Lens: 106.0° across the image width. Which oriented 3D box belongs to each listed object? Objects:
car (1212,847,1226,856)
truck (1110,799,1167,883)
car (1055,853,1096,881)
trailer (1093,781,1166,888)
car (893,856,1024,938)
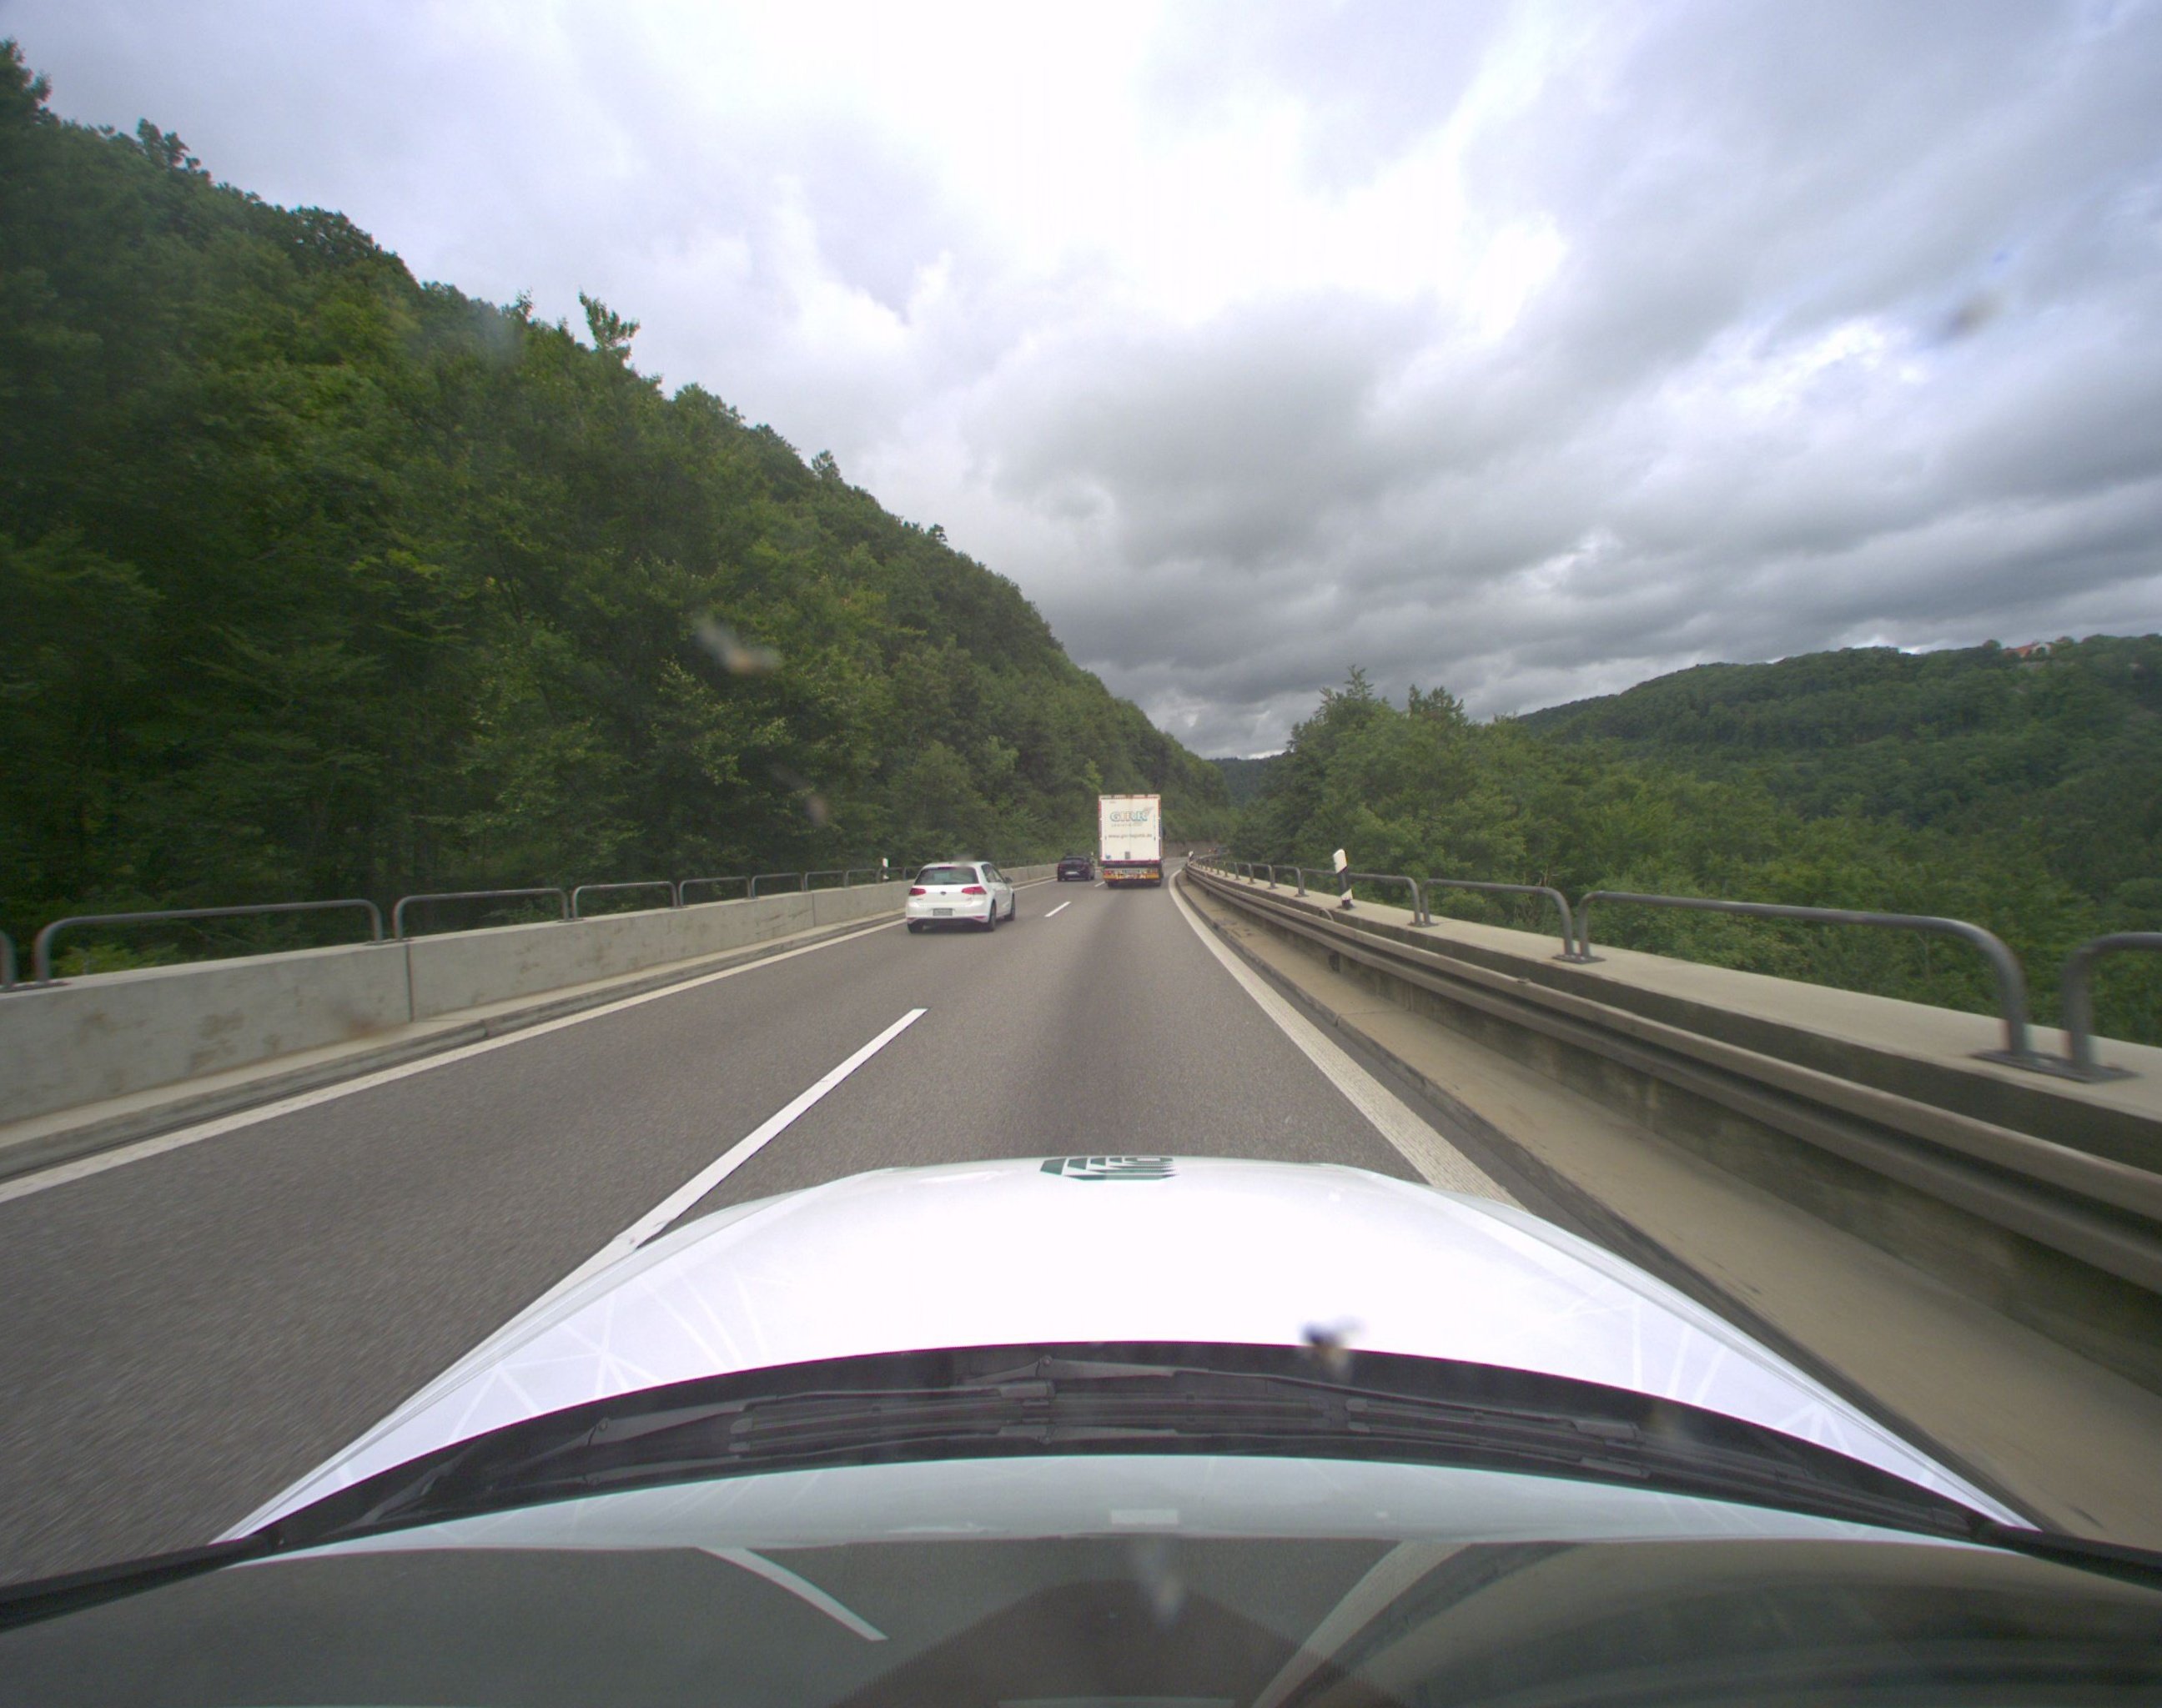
[{"bbox_3d":[24.434,-0.447,144.270,1.979,1.565,4.015,-2,-1,14],"label":"car"},{"bbox_3d":[3.368,-0.647,46.195,2.799,4.302,6.269,-3,-1,6],"label":"truck"},{"bbox_3d":[-0.247,0.717,46.386,1.764,1.461,4.589,-2,-1,6],"label":"car"},{"bbox_3d":[2.652,-0.719,39.718,2.799,4.302,12.265,-3,-1,6],"label":"trailer"},{"bbox_3d":[-2.530,0.832,18.005,1.837,1.481,4.633,-2,0,4],"label":"car"}]
